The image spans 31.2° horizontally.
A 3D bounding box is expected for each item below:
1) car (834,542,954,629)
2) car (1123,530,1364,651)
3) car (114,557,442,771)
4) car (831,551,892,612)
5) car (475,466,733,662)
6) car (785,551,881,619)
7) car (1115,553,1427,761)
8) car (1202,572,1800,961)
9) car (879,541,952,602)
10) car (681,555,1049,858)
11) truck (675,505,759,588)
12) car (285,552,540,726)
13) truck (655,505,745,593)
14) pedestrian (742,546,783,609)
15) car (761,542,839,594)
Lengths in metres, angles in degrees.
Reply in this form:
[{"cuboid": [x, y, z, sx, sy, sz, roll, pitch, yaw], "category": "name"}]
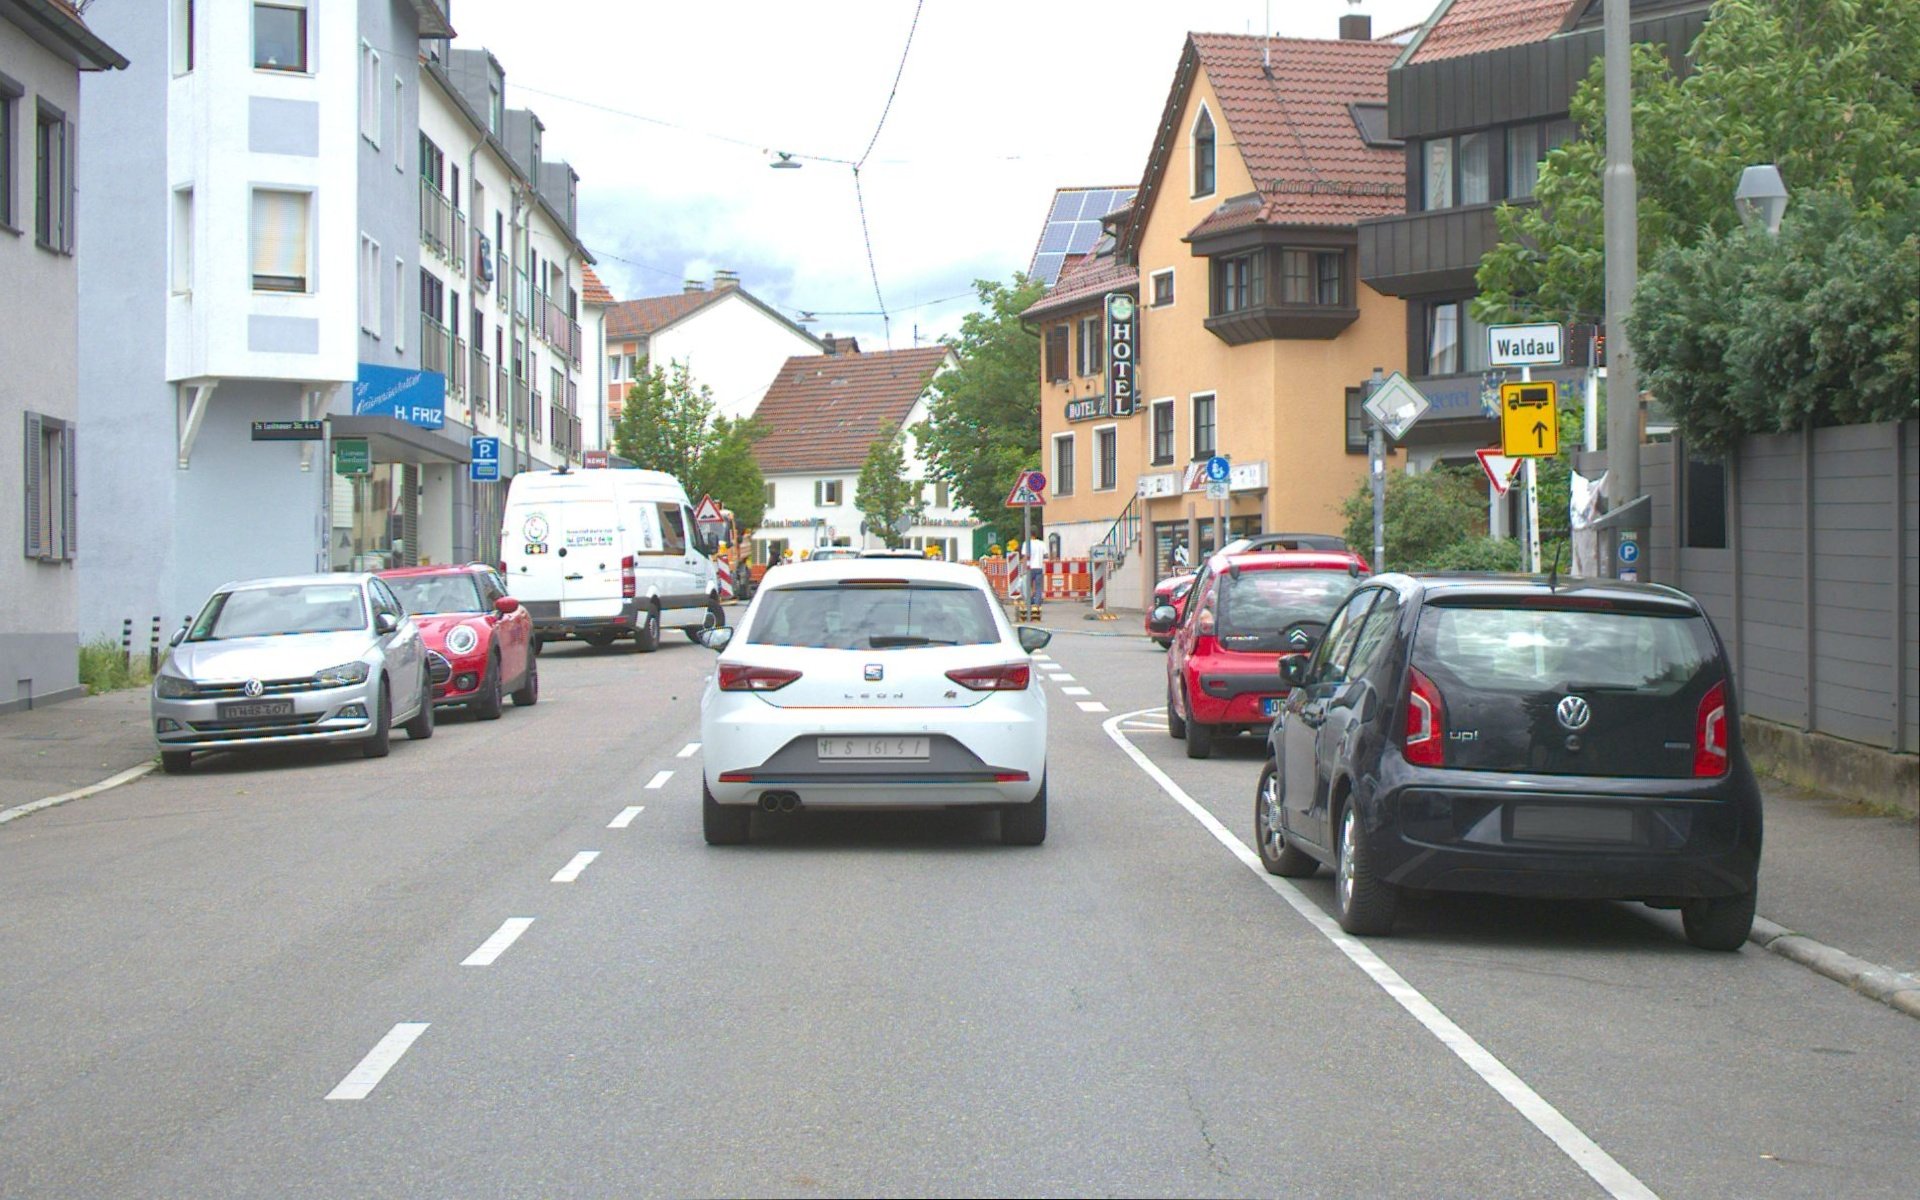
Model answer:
[{"cuboid": [-1.184, -0.271, 59.744, 1.758, 1.447, 4.001, 0, 1, -6], "category": "car"}, {"cuboid": [3.750, -0.135, 45.720, 2.807, 1.507, 1.709, 1, 2, -12], "category": "car"}, {"cuboid": [-5.323, 0.446, 27.334, 1.799, 1.474, 4.051, -3, 1, -1], "category": "car"}, {"cuboid": [-3.035, -0.595, 106.943, 1.794, 1.824, 4.000, 0, 1, 0], "category": "car"}, {"cuboid": [-5.124, -0.559, 50.357, 2.153, 2.677, 5.542, 1, 1, 12], "category": "car"}, {"cuboid": [-2.834, -0.356, 75.953, 1.758, 1.447, 4.001, 0, 1, -8], "category": "car"}, {"cuboid": [2.268, 0.370, 26.054, 1.758, 1.447, 4.001, 0, 1, -4], "category": "car"}, {"cuboid": [2.205, 0.615, 15.079, 1.758, 1.447, 4.001, 0, 1, -4], "category": "car"}, {"cuboid": [-1.106, -0.737, 86.053, 1.761, 1.492, 3.789, 0, 1, 0], "category": "car"}, {"cuboid": [-0.474, 0.487, 18.515, 1.758, 1.447, 4.000, 0, 1, 0], "category": "car"}, {"cuboid": [-7.355, -1.647, 104.528, 2.152, 2.451, 5.395, 1, 1, 0], "category": "truck"}, {"cuboid": [-5.170, 0.322, 32.943, 1.799, 1.474, 4.051, -3, 1, -1], "category": "car"}, {"cuboid": [-7.424, -1.480, 98.617, 2.152, 2.451, 5.395, 1, 1, 0], "category": "truck"}, {"cuboid": [-6.267, -0.715, 108.968, 1.228, 2.007, 1.176, 0, 1, 0], "category": "pedestrian"}, {"cuboid": [-5.316, -1.072, 114.909, 1.795, 1.696, 3.998, 0, 1, 10], "category": "car"}]
